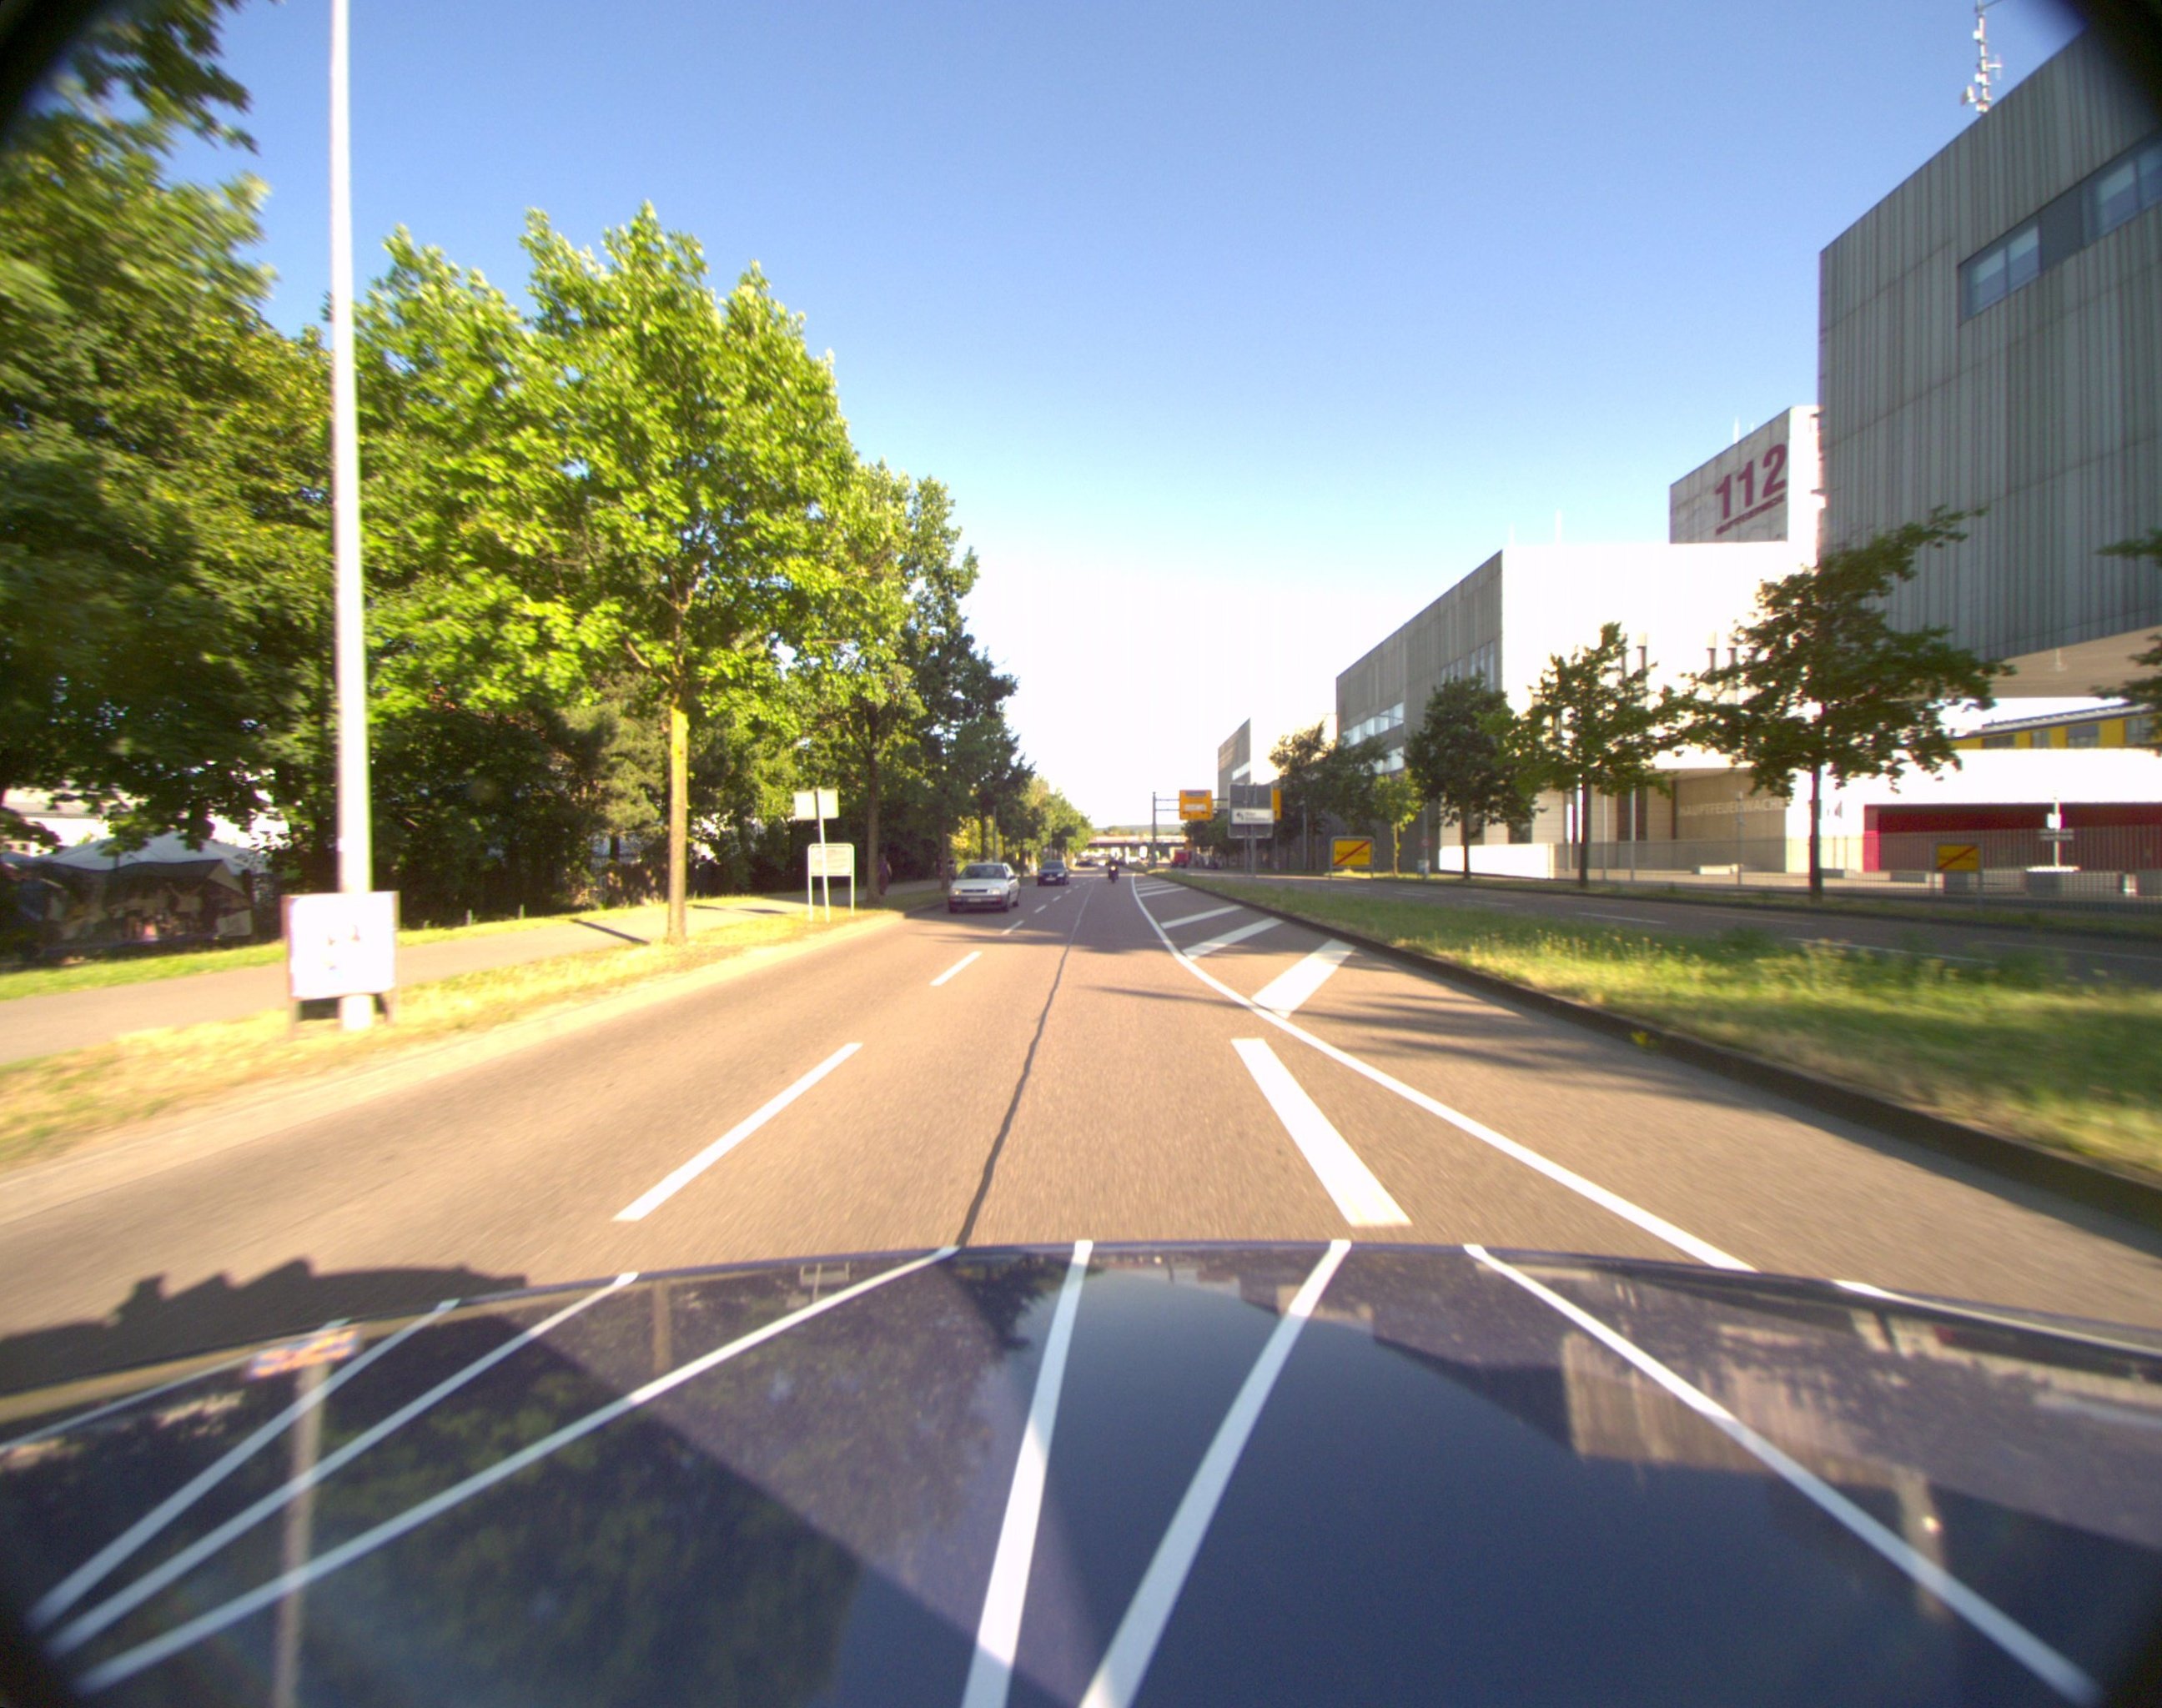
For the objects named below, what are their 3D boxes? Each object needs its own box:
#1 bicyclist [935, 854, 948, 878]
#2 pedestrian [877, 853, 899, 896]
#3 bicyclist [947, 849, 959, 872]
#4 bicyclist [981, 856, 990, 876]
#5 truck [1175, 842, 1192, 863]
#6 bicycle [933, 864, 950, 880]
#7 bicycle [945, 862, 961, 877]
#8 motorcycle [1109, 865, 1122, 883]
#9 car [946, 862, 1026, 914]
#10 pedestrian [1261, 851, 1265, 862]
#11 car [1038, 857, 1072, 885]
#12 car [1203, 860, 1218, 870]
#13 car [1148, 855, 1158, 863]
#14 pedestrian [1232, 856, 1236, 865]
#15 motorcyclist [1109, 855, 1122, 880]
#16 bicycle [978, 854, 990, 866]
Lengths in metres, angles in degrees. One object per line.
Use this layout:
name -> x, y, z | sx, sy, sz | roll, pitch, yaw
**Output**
bicyclist -> -8.838, 0.758, 48.241 | 0.614, 1.493, 0.848 | -1, 0, 4
pedestrian -> -7.177, 0.764, 28.276 | 0.673, 1.564, 0.910 | 1, 0, -6
bicyclist -> -8.911, 0.437, 53.029 | 0.604, 1.569, 0.848 | -1, 0, 4
bicyclist -> -8.048, 0.994, 63.898 | 0.604, 1.723, 0.848 | -1, 0, 4
truck -> 19.006, -0.283, 140.760 | 3.004, 3.789, 10.095 | -1, 0, 7
bicycle -> -8.849, 1.102, 48.208 | 0.618, 0.968, 1.822 | -1, 0, 4
bicycle -> -8.895, 1.062, 53.012 | 0.618, 0.968, 2.059 | -1, 0, 4
motorcycle -> 2.068, 1.195, 45.971 | 0.749, 0.977, 2.140 | 0, 0, 1
car -> -2.729, 0.963, 22.631 | 1.614, 1.390, 4.040 | -1, -1, 4
pedestrian -> 29.731, 0.431, 124.241 | 0.604, 1.757, 0.649 | -1, 0, 3
car -> -1.455, 0.966, 44.512 | 1.725, 1.490, 4.214 | -2, 0, 1
car -> 20.212, 1.742, 118.593 | 1.600, 1.504, 3.866 | -1, 0, -2
car -> 16.371, 1.107, 172.277 | 1.998, 1.805, 4.402 | 0, 0, 3
pedestrian -> 27.689, 1.224, 137.479 | 0.698, 1.619, 0.725 | 0, 0, 2
motorcyclist -> 2.070, 0.791, 45.857 | 0.734, 1.503, 0.919 | 0, 1, 1
bicycle -> -8.087, 0.463, 63.284 | 0.618, 0.968, 2.059 | -1, 0, 4
